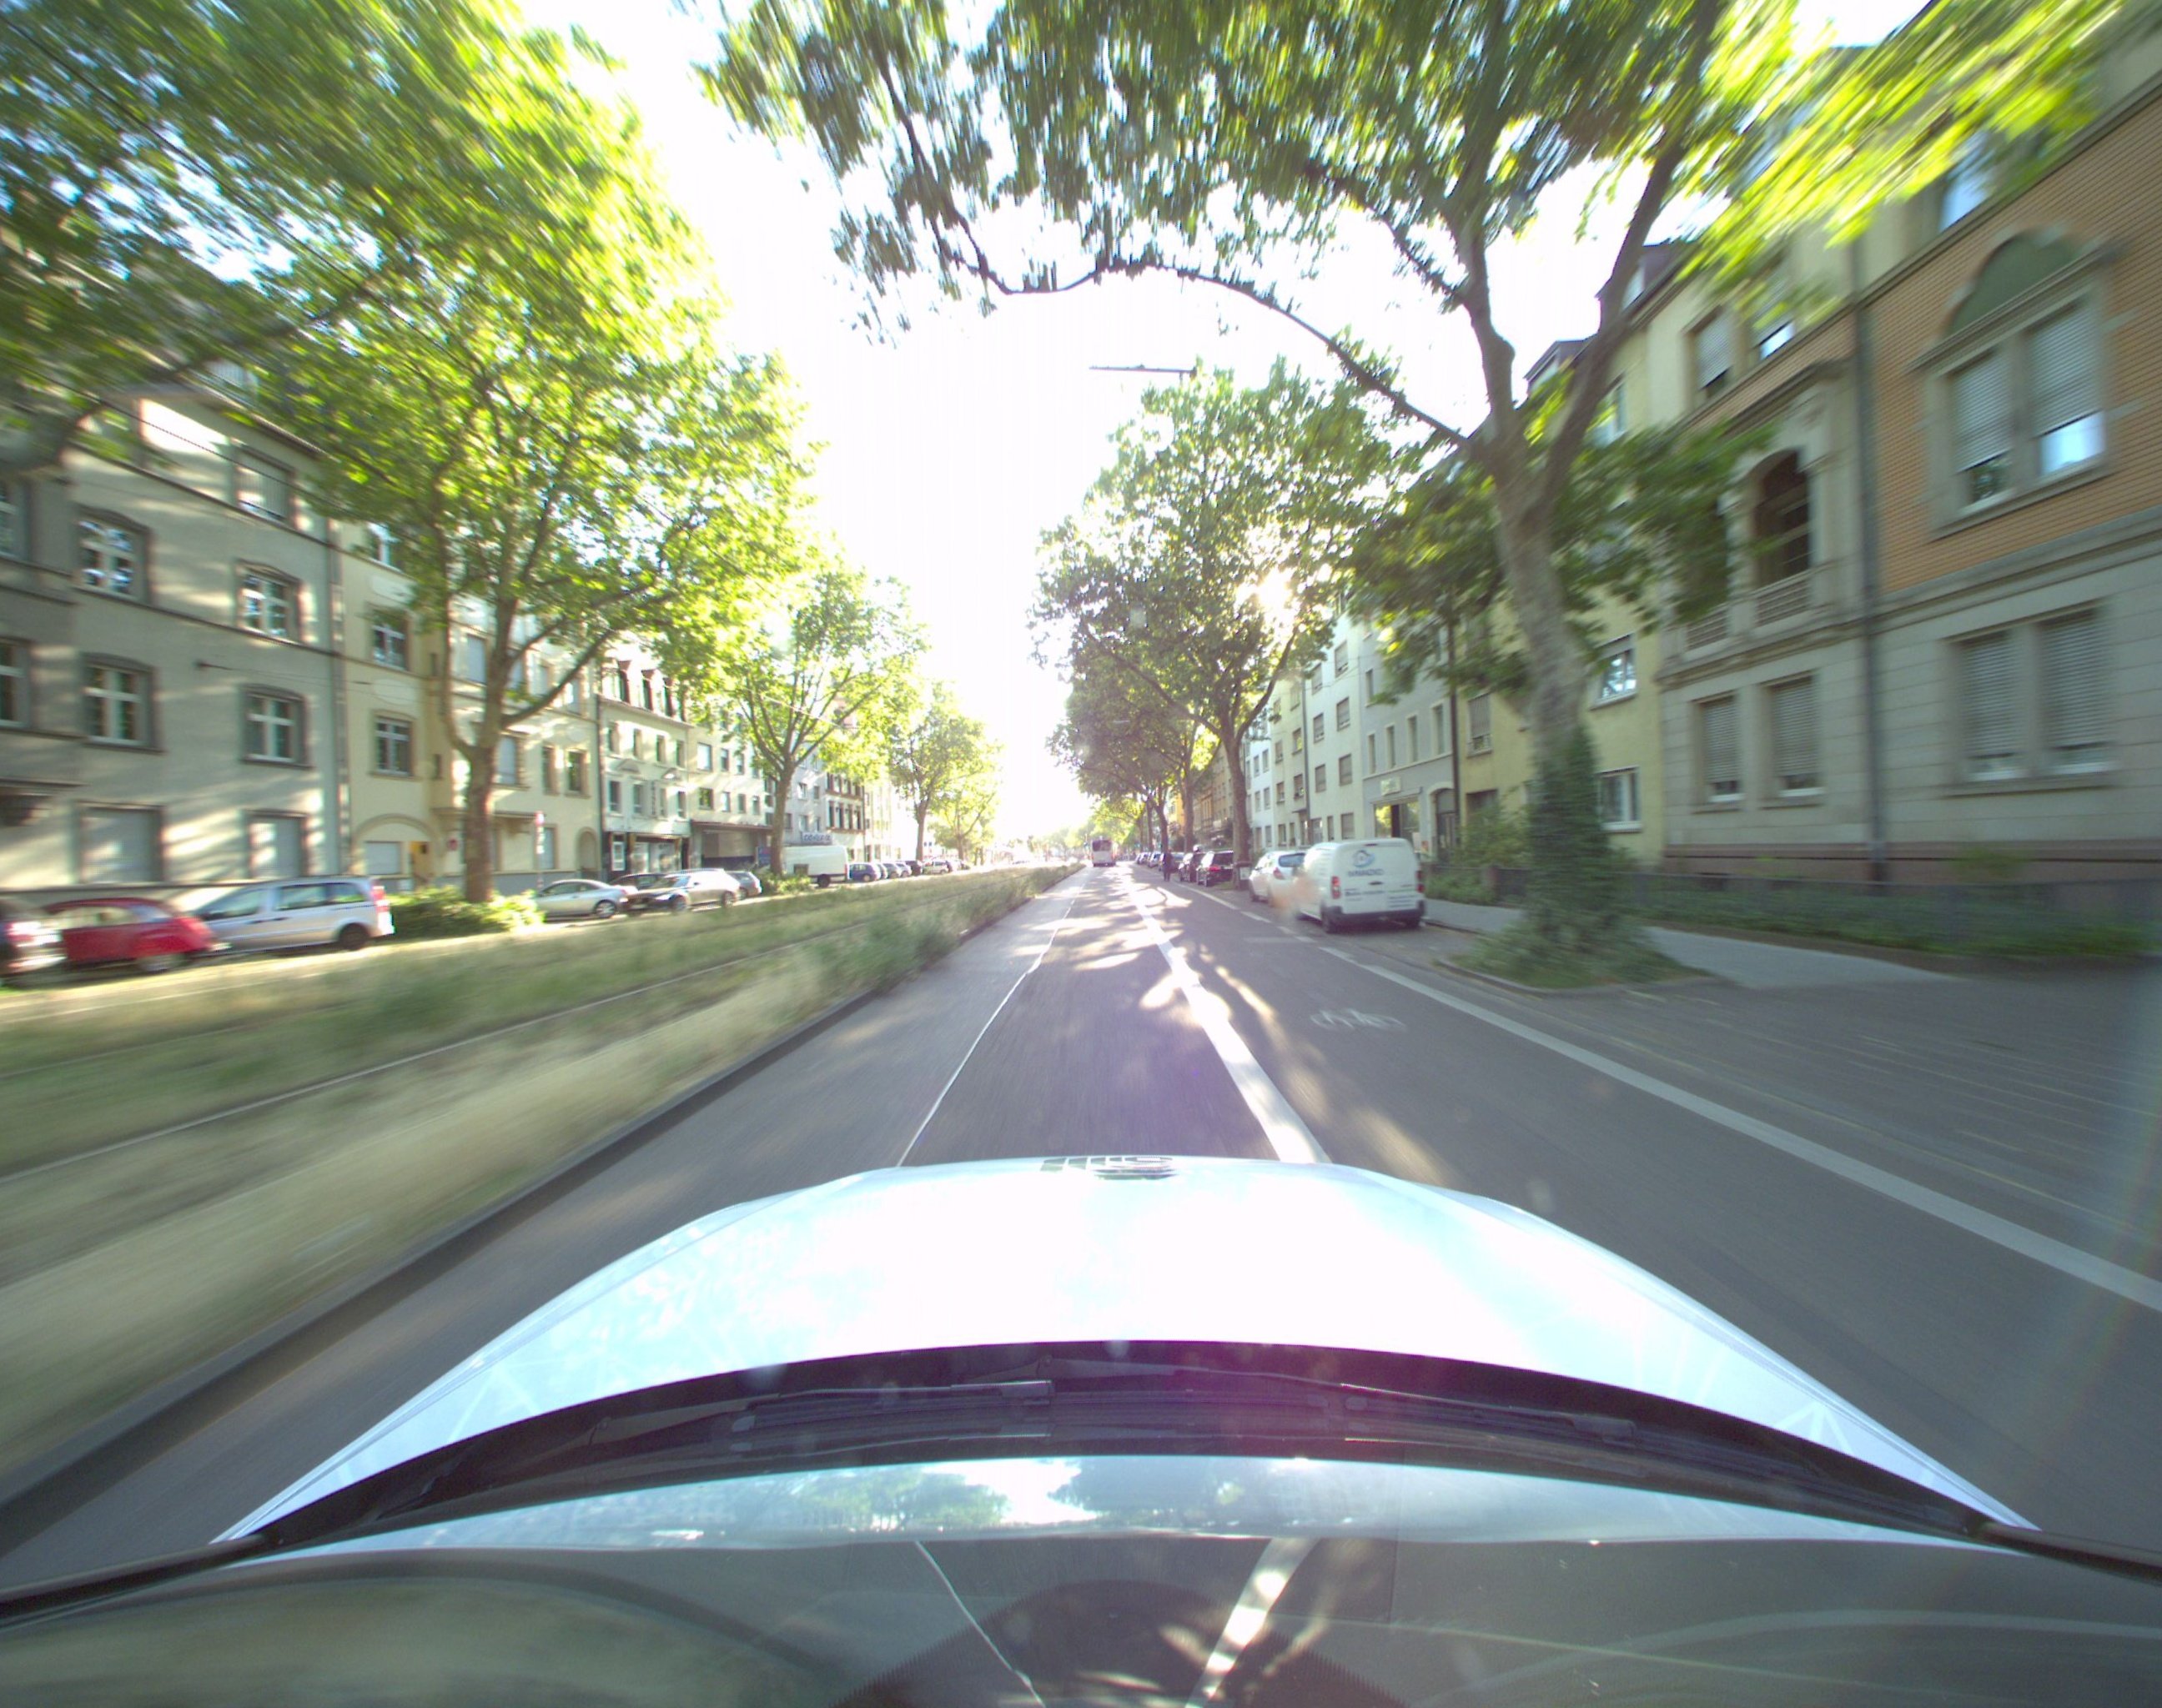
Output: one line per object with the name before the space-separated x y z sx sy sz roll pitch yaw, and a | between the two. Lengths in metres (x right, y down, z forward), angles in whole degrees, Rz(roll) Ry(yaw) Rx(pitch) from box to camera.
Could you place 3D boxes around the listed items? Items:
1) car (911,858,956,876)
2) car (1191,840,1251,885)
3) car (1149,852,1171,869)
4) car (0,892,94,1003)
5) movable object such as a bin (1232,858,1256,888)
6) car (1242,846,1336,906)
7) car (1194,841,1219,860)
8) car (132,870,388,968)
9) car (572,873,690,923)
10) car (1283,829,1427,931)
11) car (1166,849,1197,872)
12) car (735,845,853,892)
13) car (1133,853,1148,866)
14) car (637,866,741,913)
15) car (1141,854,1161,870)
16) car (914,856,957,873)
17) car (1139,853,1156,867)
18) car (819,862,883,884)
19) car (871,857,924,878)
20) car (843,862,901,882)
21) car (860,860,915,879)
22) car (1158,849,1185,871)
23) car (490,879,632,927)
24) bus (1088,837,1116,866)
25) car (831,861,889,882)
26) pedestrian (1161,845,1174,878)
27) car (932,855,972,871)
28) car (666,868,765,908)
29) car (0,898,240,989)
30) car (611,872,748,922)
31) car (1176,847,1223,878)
car | -15.774 1.353 87.288 4.334 1.738 1.837 -2 -1 -39
car | 6.109 0.387 36.047 1.738 1.770 4.988 -2 -1 0
car | 7.396 0.579 76.493 1.774 1.516 4.001 -3 0 1
car | -18.798 1.563 12.688 4.019 1.723 1.764 -2 -1 -38
movable object such as a bin | 6.019 0.700 30.104 0.671 1.045 0.880 -3 1 1
car | 5.801 0.566 23.185 1.640 1.486 4.000 -3 0 1
car | 12.904 -0.354 84.012 1.876 1.860 4.327 -3 -1 1
car | -18.903 1.416 19.003 4.023 1.882 1.975 -2 -1 -44
car | -18.325 1.754 33.257 4.014 1.553 1.838 -6 2 -31
car | 5.493 0.490 16.899 1.736 1.770 4.399 -3 -1 4
car | 7.263 0.423 58.926 1.774 1.516 4.001 -3 0 1
car | -18.376 0.883 52.401 6.961 2.678 2.171 -2 -1 -20
car | 7.694 0.660 105.750 1.774 1.516 4.001 -3 0 1
car | -17.618 1.565 36.620 4.013 1.699 1.838 -4 0 -31
car | 7.274 0.849 84.750 1.774 1.516 4.001 -3 0 1
car | -16.304 1.172 91.151 4.334 1.738 1.837 -2 -1 -39
car | 8.078 0.679 99.129 1.774 1.516 4.001 -3 0 1
car | -17.500 1.402 62.151 4.290 1.458 1.855 -2 -1 -5
car | -16.993 1.267 75.524 4.334 1.738 1.837 -2 -1 -39
car | -17.610 1.538 68.749 4.334 1.458 1.837 -2 -1 -39
car | -17.134 1.382 72.145 4.334 1.458 1.837 -2 -1 -39
car | 7.060 0.447 63.830 1.774 1.516 4.001 -3 0 1
car | -17.923 1.661 28.262 4.013 1.356 1.570 -2 -1 -31
bus | 2.440 -0.244 97.225 2.825 3.235 8.178 -2 -1 -1
car | -17.554 1.414 64.689 4.315 1.458 1.845 -2 -1 -21
pedestrian | 4.750 0.391 44.762 0.574 1.779 0.514 -3 0 1
car | -15.520 1.105 98.278 4.334 1.738 1.837 -2 -1 -39
car | -17.760 1.642 39.634 4.019 1.699 1.835 -2 -1 -37
car | -19.219 1.694 15.649 4.019 1.448 1.568 -2 -1 -38
car | -14.120 1.458 29.002 1.735 1.460 4.938 -3 -1 10
car | 6.171 0.427 42.903 1.682 1.486 3.995 -2 -1 -3
